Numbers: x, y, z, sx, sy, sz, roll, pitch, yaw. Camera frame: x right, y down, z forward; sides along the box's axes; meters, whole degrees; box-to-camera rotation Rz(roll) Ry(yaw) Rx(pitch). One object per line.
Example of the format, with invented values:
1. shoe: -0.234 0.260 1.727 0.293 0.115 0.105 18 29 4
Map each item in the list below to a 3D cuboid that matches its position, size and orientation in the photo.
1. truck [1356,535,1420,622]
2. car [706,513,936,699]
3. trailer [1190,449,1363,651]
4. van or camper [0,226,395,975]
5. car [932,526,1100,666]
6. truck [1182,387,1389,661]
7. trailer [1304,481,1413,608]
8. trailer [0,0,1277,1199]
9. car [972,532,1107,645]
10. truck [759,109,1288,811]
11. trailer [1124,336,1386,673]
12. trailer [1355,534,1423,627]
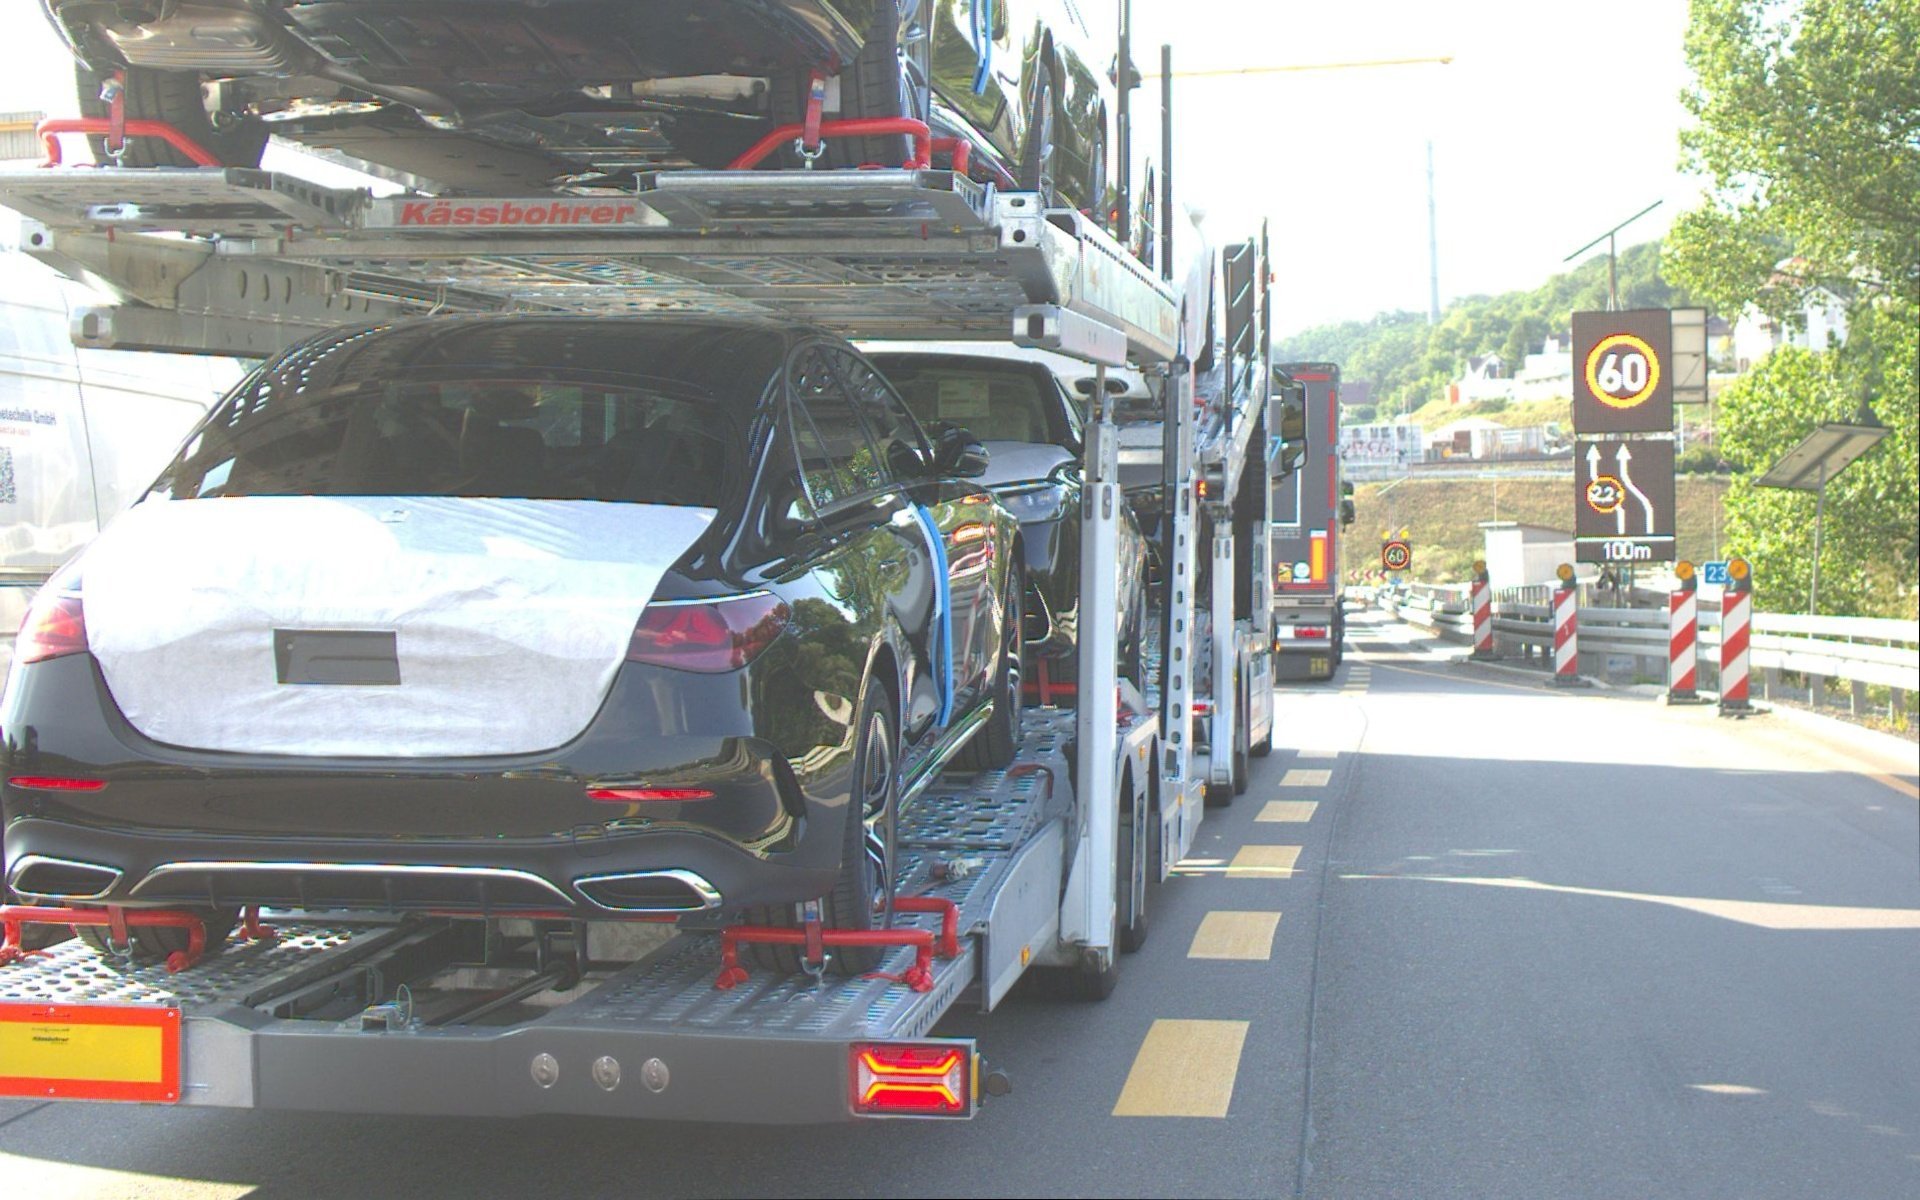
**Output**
1. truck: 21.687 -1.120 174.436 3.098 4.271 6.623 -1 1 7
2. car: -1.365 0.033 35.449 1.830 1.746 3.999 -2 1 5
3. trailer: 7.157 -1.104 75.856 3.385 3.983 14.742 -1 1 7
4. van or camper: -4.114 -0.021 13.828 1.994 2.611 5.902 0 1 7
5. car: 0.764 -0.079 44.152 1.830 1.648 3.999 -2 1 5
6. truck: 5.193 -1.158 53.827 2.886 3.983 6.622 -1 1 8
7. trailer: 13.487 -1.868 116.360 3.385 3.983 14.742 -1 1 7
8. trailer: -0.312 -0.679 14.563 2.858 3.983 15.742 -1 1 7
9. car: 1.285 -0.200 53.911 1.830 1.648 3.999 -2 1 5
10. truck: 0.669 -0.836 23.059 2.849 3.983 6.623 -1 1 7
11. trailer: 4.305 -1.253 47.871 2.959 4.078 10.790 -2 1 8
12. trailer: 20.880 -1.013 167.749 3.104 4.299 14.249 -1 1 7
